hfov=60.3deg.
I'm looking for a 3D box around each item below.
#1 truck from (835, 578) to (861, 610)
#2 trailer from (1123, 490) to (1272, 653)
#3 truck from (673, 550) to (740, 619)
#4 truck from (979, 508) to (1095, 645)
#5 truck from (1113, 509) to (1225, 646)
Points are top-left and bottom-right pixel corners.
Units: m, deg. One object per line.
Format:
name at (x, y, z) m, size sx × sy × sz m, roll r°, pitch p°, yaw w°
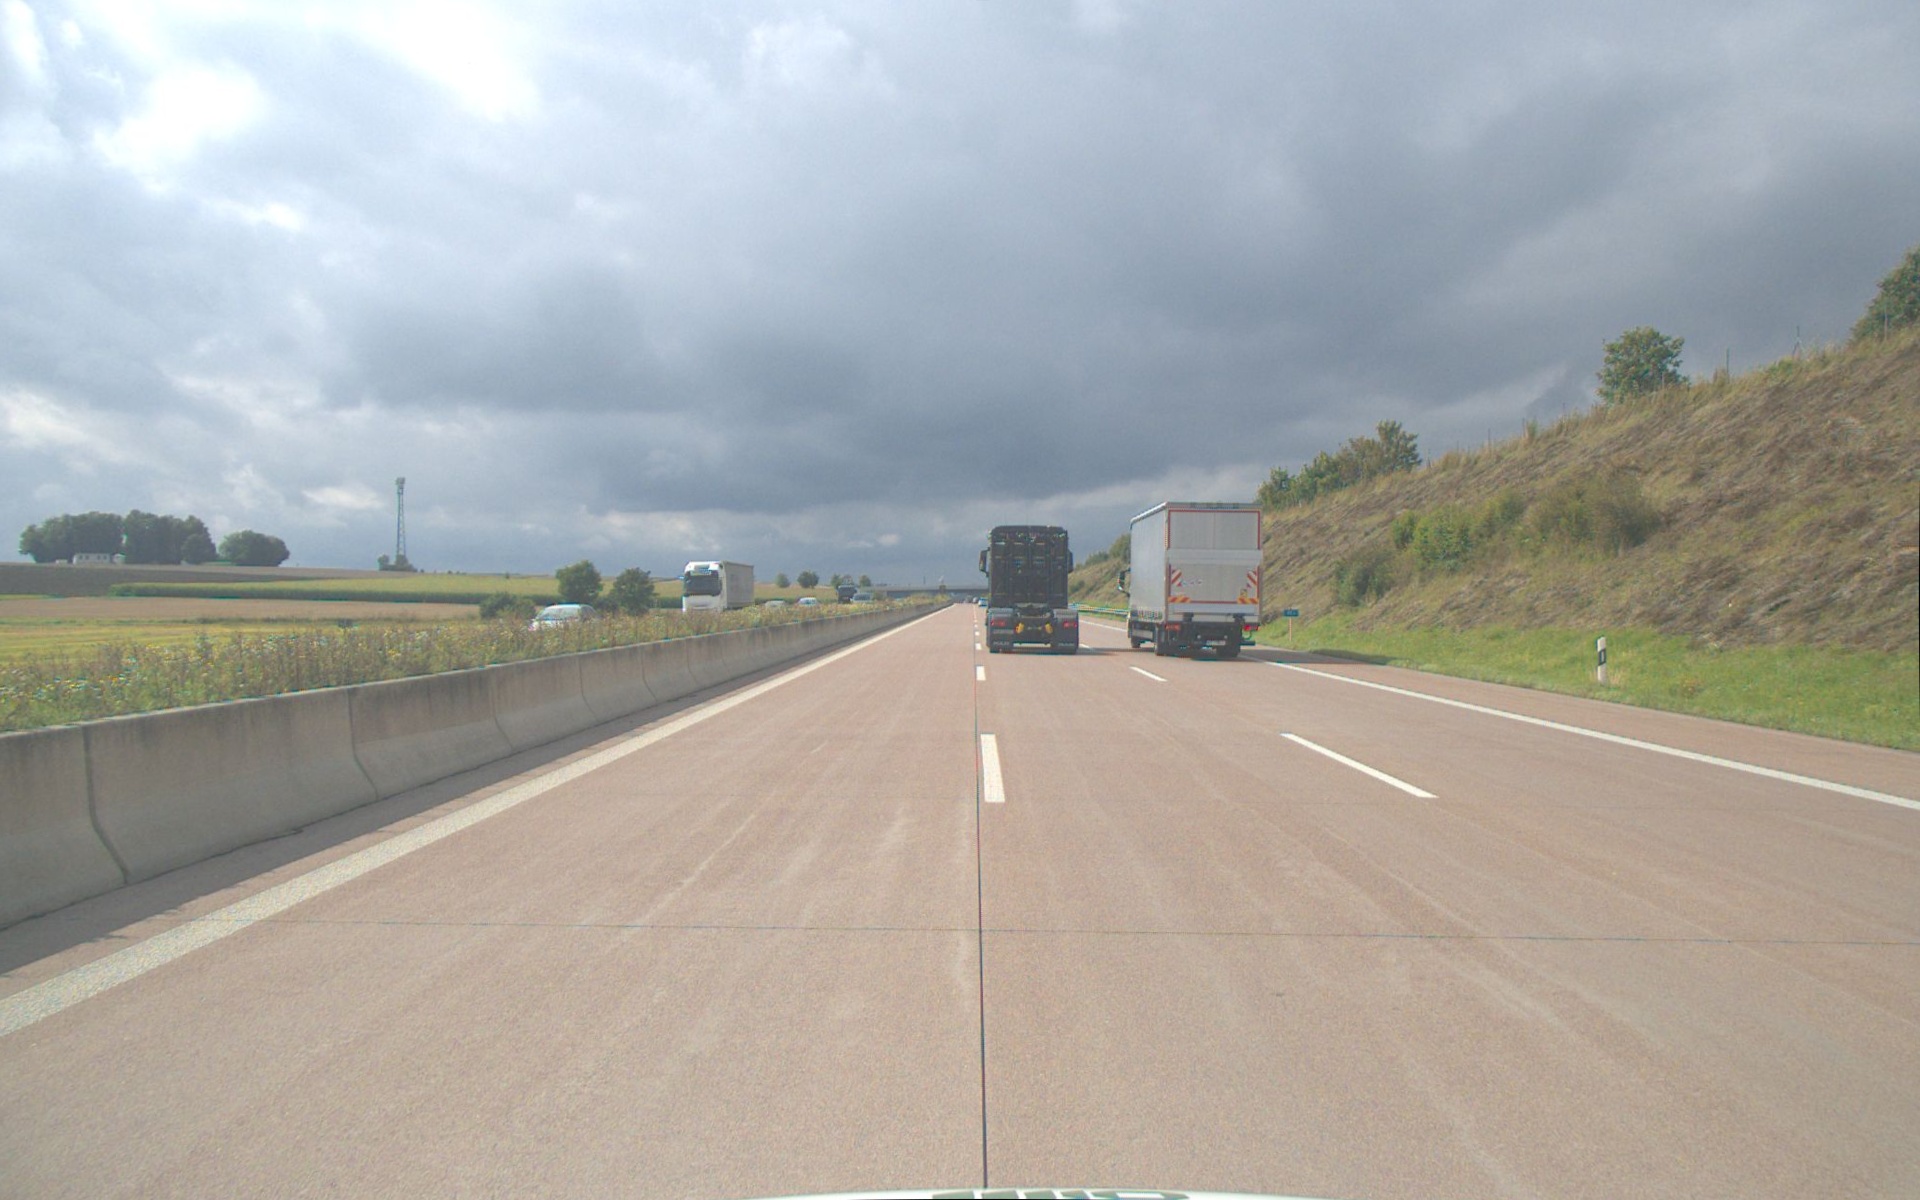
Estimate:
truck at (-15.411, -0.851, 227.829) m, size 2.832 × 4.170 × 6.336 m, roll -2°, pitch 0°, yaw 1°
trailer at (6.421, -0.709, 46.063) m, size 2.692 × 4.082 × 8.668 m, roll 1°, pitch 0°, yaw -1°
truck at (-16.042, -0.982, 105.150) m, size 3.140 × 4.170 × 6.127 m, roll 1°, pitch 0°, yaw 1°
truck at (2.099, -0.604, 48.266) m, size 2.790 × 3.612 × 8.317 m, roll 1°, pitch 0°, yaw -1°
truck at (6.311, -0.654, 50.489) m, size 2.693 × 3.960 × 4.544 m, roll 1°, pitch 0°, yaw -1°
